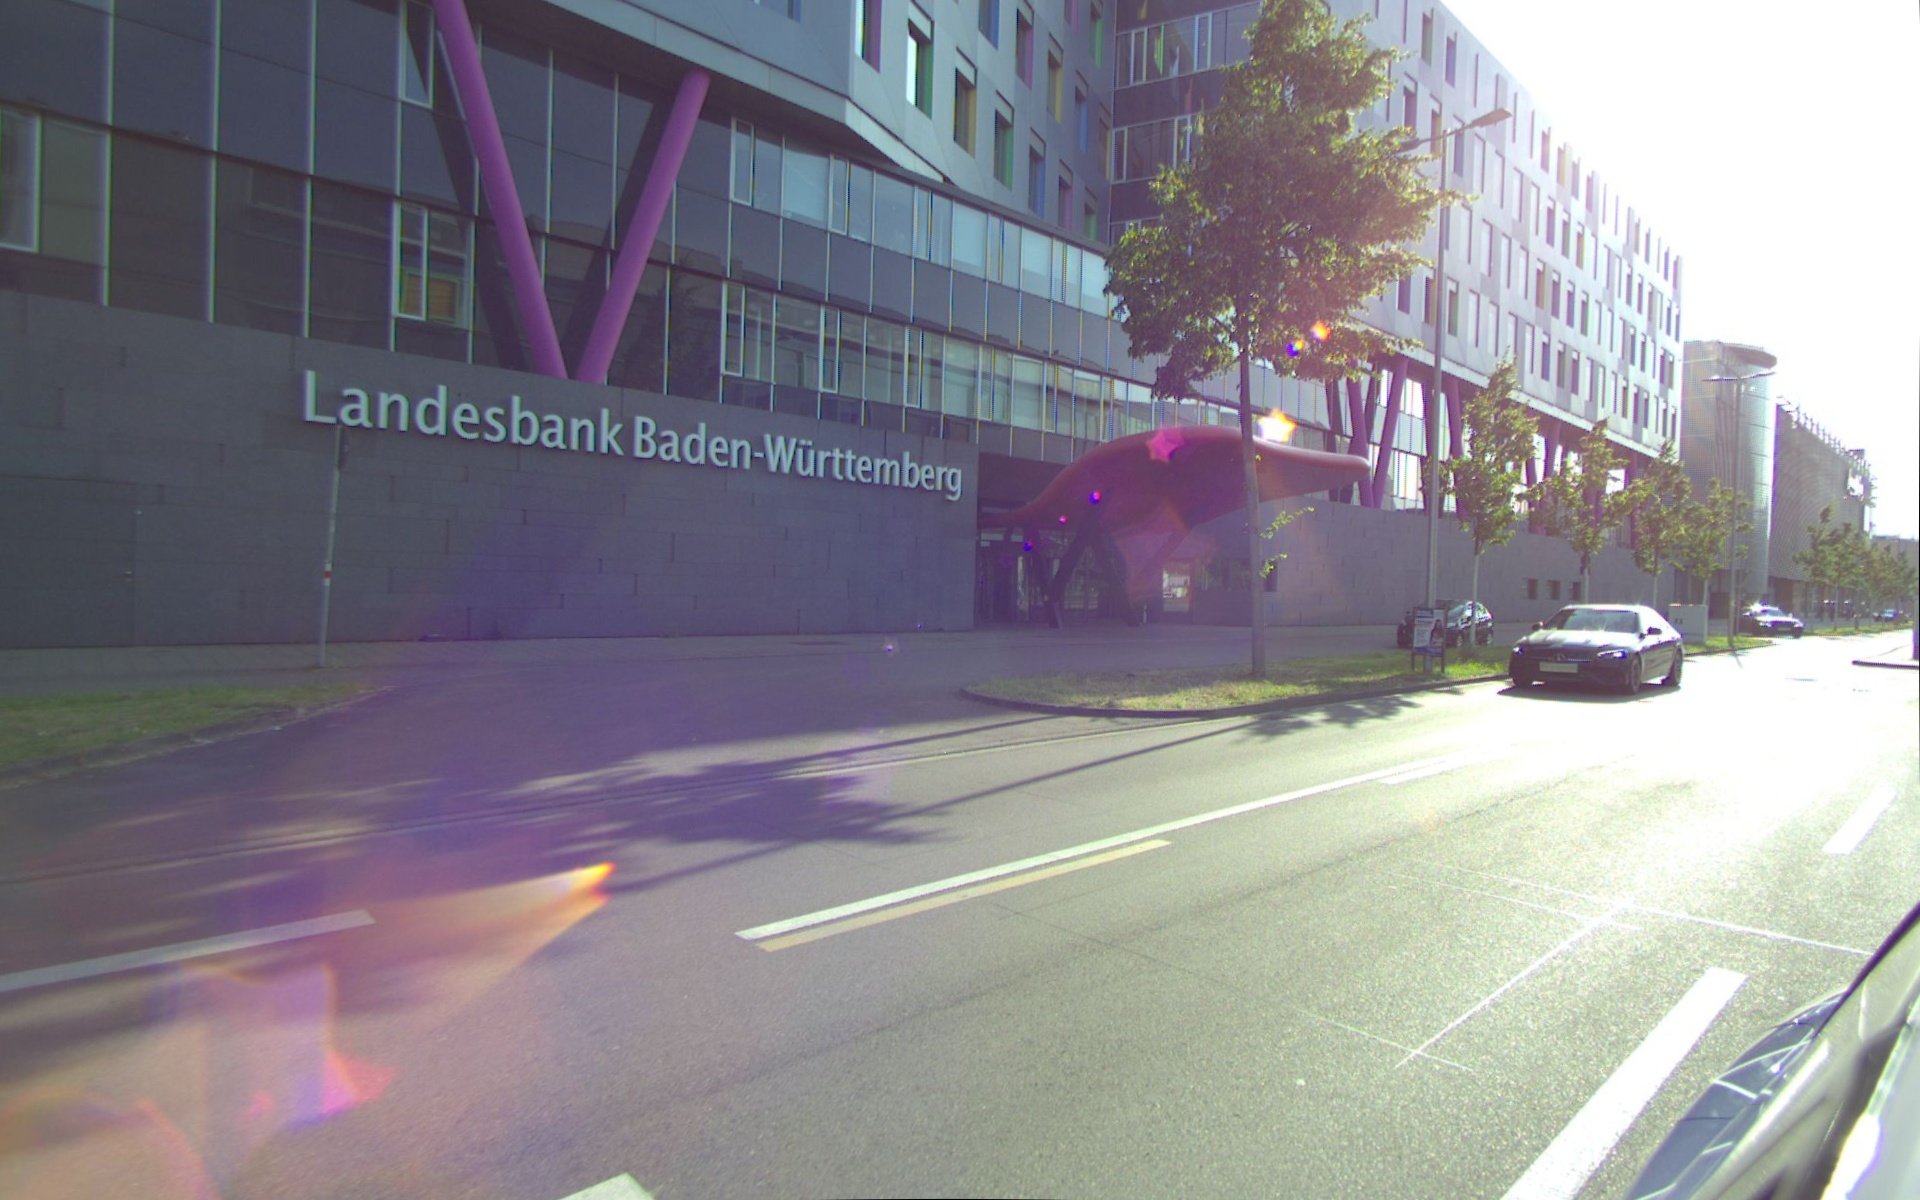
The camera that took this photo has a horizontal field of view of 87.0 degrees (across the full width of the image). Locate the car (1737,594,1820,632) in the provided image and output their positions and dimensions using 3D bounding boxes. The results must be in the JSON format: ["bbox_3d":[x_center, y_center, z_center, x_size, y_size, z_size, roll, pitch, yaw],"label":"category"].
[{"bbox_3d":[39.755,0.608,49.295,1.874,1.443,4.443,0,4,22],"label":"car"}]

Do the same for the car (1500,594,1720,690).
[{"bbox_3d":[11.437,0.668,17.690,4.471,1.468,1.844,1,0,-38],"label":"car"}]

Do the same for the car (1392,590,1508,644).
[{"bbox_3d":[14.321,0.488,29.462,4.129,1.407,1.693,1,1,-44],"label":"car"}]

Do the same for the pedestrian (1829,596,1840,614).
[{"bbox_3d":[87.712,0.522,101.499,0.759,1.808,0.724,1,1,-43],"label":"pedestrian"}]
